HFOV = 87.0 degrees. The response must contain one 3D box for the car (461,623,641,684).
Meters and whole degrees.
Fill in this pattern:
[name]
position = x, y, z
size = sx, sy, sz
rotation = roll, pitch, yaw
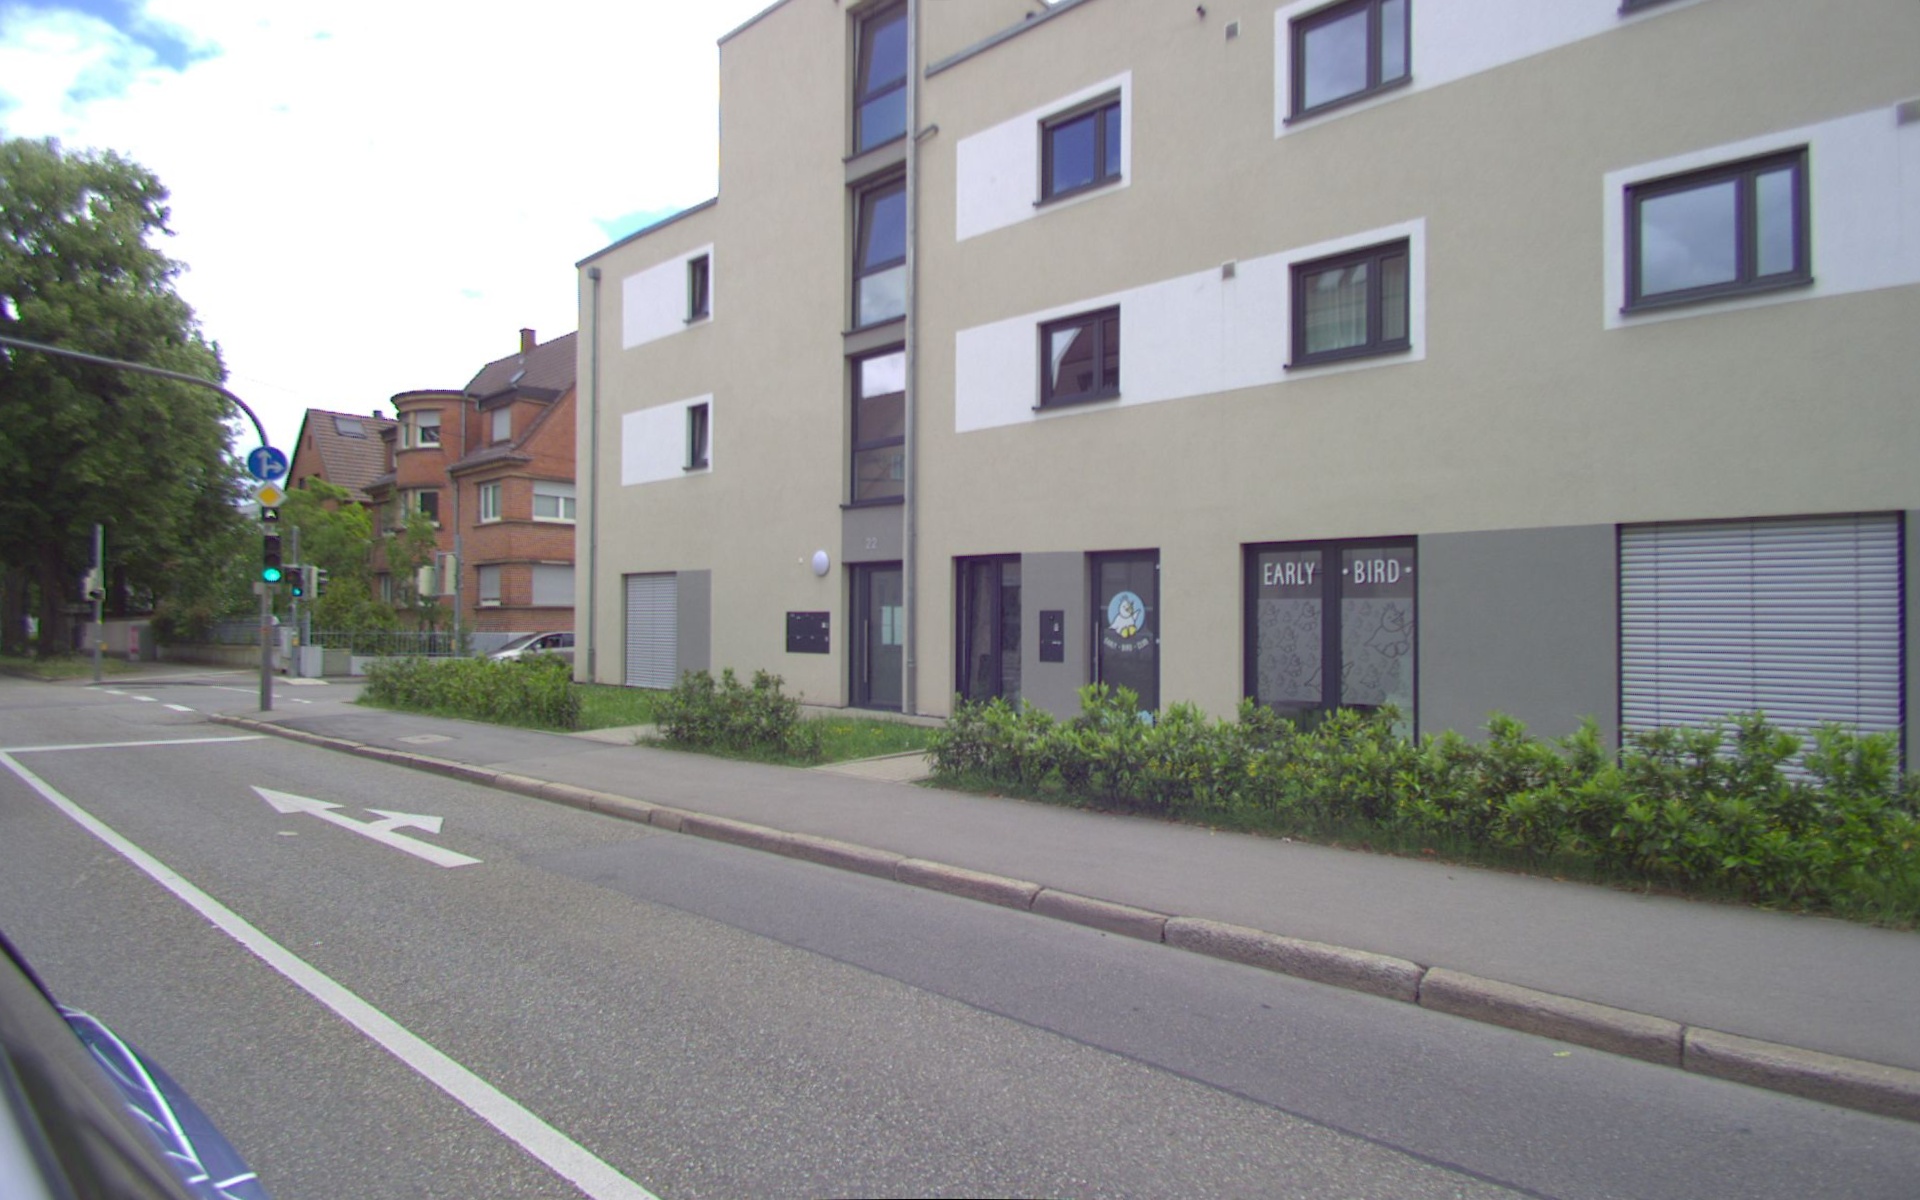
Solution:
[car]
position = -12.508, 1.572, 31.263
size = 2.171, 1.698, 4.756
rotation = -1, -2, 36
